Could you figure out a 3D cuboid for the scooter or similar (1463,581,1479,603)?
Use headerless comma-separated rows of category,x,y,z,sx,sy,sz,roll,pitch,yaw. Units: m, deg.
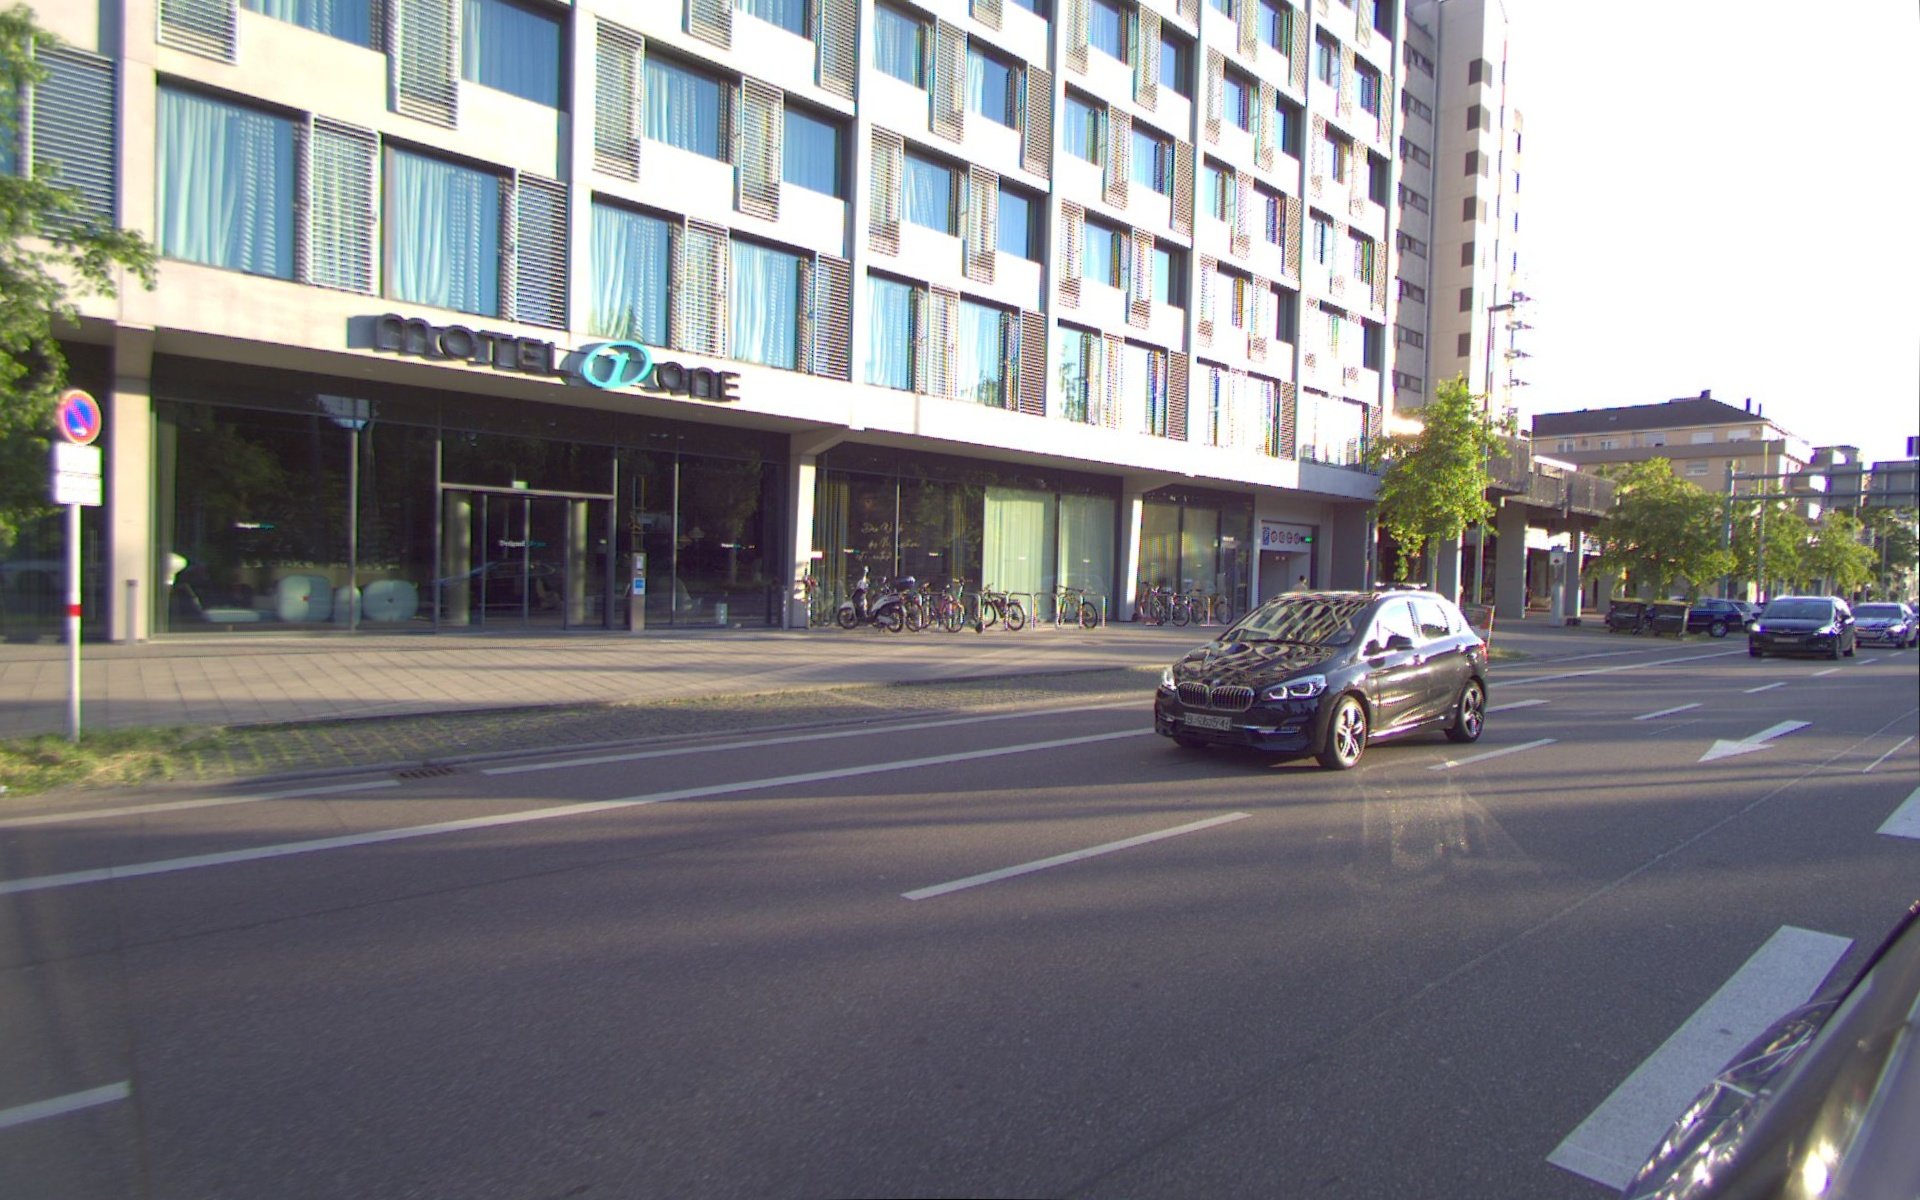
scooter or similar,26.731,-0.412,52.941,0.400,1.175,1.805,0,0,39

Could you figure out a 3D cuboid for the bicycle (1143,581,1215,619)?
bicycle,6.393,-0.013,29.665,2.016,0.969,0.611,5,3,43

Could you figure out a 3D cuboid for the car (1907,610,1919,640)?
car,47.521,1.189,49.016,4.200,1.413,1.914,0,0,-40

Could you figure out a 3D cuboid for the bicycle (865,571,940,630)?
bicycle,-1.272,-0.008,22.335,1.603,1.168,0.604,5,3,37

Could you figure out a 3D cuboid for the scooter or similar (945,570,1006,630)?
scooter or similar,0.341,-0.015,22.957,0.599,1.248,1.269,1,3,-45

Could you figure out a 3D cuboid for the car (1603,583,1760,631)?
car,28.675,0.251,40.376,4.594,1.526,1.935,4,3,10

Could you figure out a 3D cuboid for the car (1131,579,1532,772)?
car,3.959,0.593,10.319,4.708,1.538,1.824,0,0,-41

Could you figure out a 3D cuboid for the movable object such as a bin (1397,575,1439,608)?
movable object such as a bin,19.365,-0.357,42.756,1.282,1.315,1.183,1,2,-43

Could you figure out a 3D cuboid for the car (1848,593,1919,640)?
car,30.867,0.518,33.452,4.229,1.482,1.830,0,0,-42

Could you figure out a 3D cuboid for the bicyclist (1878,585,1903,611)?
bicyclist,62.751,-0.147,68.249,0.810,1.713,0.955,3,2,21

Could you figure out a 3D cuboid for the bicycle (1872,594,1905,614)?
bicycle,62.809,0.264,68.461,0.810,1.187,2.134,3,2,20

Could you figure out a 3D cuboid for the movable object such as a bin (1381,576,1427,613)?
movable object such as a bin,17.084,-0.218,38.935,1.261,1.346,1.107,1,4,-42

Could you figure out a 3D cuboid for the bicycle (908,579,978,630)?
bicycle,-0.399,0.086,22.859,0.542,0.998,1.702,1,3,-44

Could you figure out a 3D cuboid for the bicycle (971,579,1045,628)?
bicycle,1.133,0.070,24.239,0.556,1.022,1.889,0,4,-42

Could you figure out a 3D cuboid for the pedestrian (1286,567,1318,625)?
pedestrian,10.067,-0.125,29.773,0.632,1.638,0.577,1,3,-44

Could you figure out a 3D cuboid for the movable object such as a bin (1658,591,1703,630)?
movable object such as a bin,25.877,0.365,36.324,1.085,1.317,1.340,6,4,42

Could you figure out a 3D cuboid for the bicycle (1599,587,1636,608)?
bicycle,36.074,-0.134,55.506,0.426,1.061,1.575,1,4,-42

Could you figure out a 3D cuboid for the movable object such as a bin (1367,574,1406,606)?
movable object such as a bin,18.416,-0.428,43.710,1.105,1.329,1.183,1,2,-43

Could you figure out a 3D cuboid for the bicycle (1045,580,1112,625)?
bicycle,3.032,0.050,25.962,0.542,0.998,1.702,1,4,-44

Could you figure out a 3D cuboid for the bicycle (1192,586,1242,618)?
bicycle,7.689,0.058,30.349,0.449,0.902,1.424,1,2,-41

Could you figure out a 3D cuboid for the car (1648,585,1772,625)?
car,33.098,0.179,44.786,3.929,1.433,1.746,4,3,11

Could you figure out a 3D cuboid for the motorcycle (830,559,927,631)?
motorcycle,-1.782,-0.123,21.804,2.106,1.403,0.663,5,2,36

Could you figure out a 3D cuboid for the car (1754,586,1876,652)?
car,22.789,0.462,26.916,4.290,1.619,1.826,0,0,-40

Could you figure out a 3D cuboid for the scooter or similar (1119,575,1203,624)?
scooter or similar,5.570,-0.045,28.229,0.610,1.197,2.377,1,3,-41

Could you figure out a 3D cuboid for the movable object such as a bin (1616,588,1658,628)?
movable object such as a bin,24.938,0.293,37.280,1.014,1.363,1.142,6,4,44

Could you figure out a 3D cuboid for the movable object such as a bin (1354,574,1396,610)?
movable object such as a bin,16.304,-0.304,39.755,1.181,1.346,1.076,1,2,-42

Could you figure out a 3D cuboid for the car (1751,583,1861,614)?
car,49.242,-0.092,58.974,4.530,1.471,1.810,3,2,9
